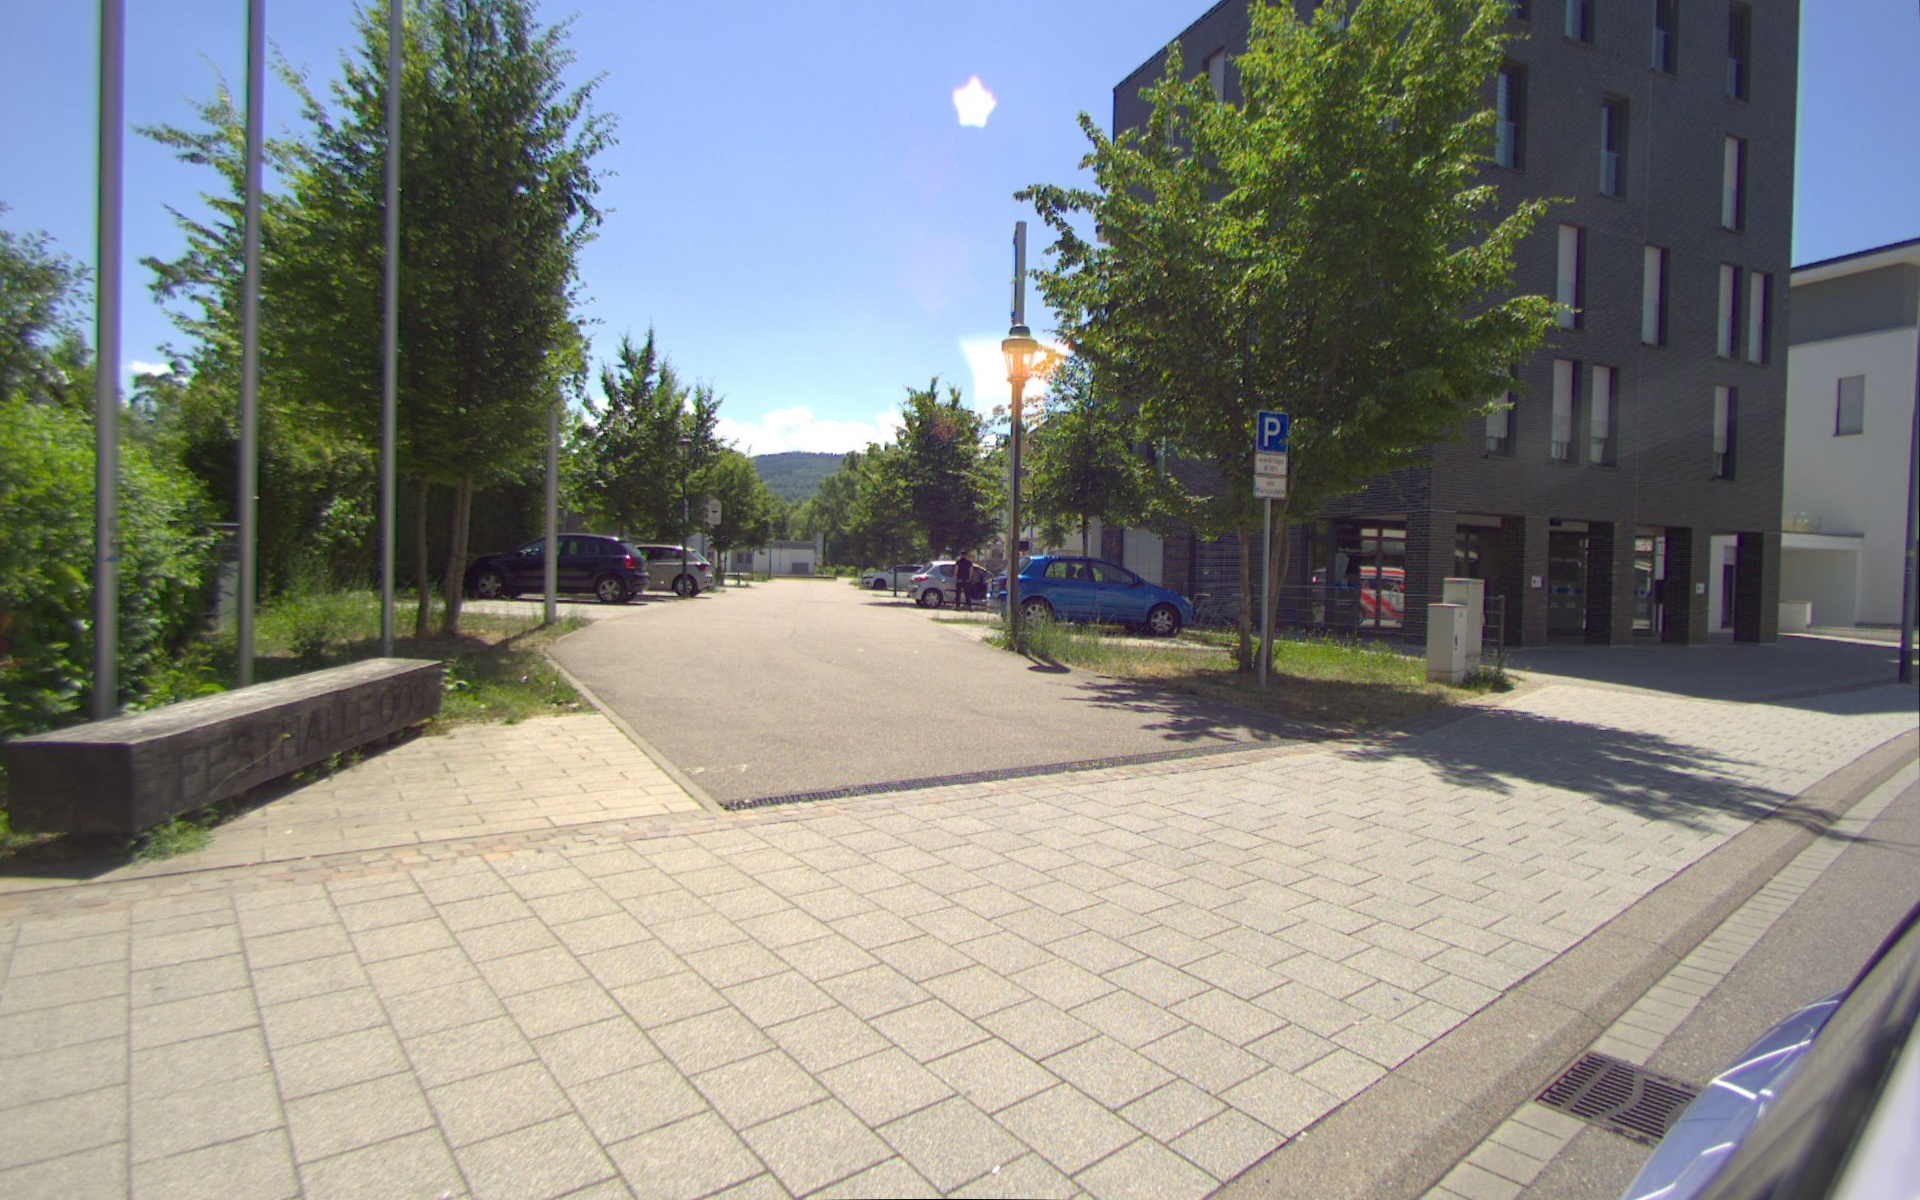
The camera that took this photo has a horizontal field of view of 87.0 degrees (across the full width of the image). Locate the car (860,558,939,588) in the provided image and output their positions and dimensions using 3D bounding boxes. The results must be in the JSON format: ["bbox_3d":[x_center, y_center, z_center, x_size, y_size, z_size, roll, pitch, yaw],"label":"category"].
[{"bbox_3d":[-3.402,-1.520,56.637,4.085,1.459,1.821,2,2,-15],"label":"car"}]

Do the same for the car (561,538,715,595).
[{"bbox_3d":[-9.112,-0.955,28.932,3.918,1.459,1.880,2,2,-9],"label":"car"}]

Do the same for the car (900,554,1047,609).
[{"bbox_3d":[0.371,-0.575,30.529,4.086,1.459,1.821,2,2,-11],"label":"car"}]

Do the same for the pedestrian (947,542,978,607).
[{"bbox_3d":[0.079,-0.746,29.020,0.684,1.812,0.638,2,2,-14],"label":"pedestrian"}]

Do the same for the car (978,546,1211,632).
[{"bbox_3d":[2.578,-0.205,19.773,4.086,1.459,1.821,2,1,-11],"label":"car"}]

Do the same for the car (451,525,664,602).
[{"bbox_3d":[-8.585,-0.782,21.886,3.918,1.459,1.880,2,2,-7],"label":"car"}]
